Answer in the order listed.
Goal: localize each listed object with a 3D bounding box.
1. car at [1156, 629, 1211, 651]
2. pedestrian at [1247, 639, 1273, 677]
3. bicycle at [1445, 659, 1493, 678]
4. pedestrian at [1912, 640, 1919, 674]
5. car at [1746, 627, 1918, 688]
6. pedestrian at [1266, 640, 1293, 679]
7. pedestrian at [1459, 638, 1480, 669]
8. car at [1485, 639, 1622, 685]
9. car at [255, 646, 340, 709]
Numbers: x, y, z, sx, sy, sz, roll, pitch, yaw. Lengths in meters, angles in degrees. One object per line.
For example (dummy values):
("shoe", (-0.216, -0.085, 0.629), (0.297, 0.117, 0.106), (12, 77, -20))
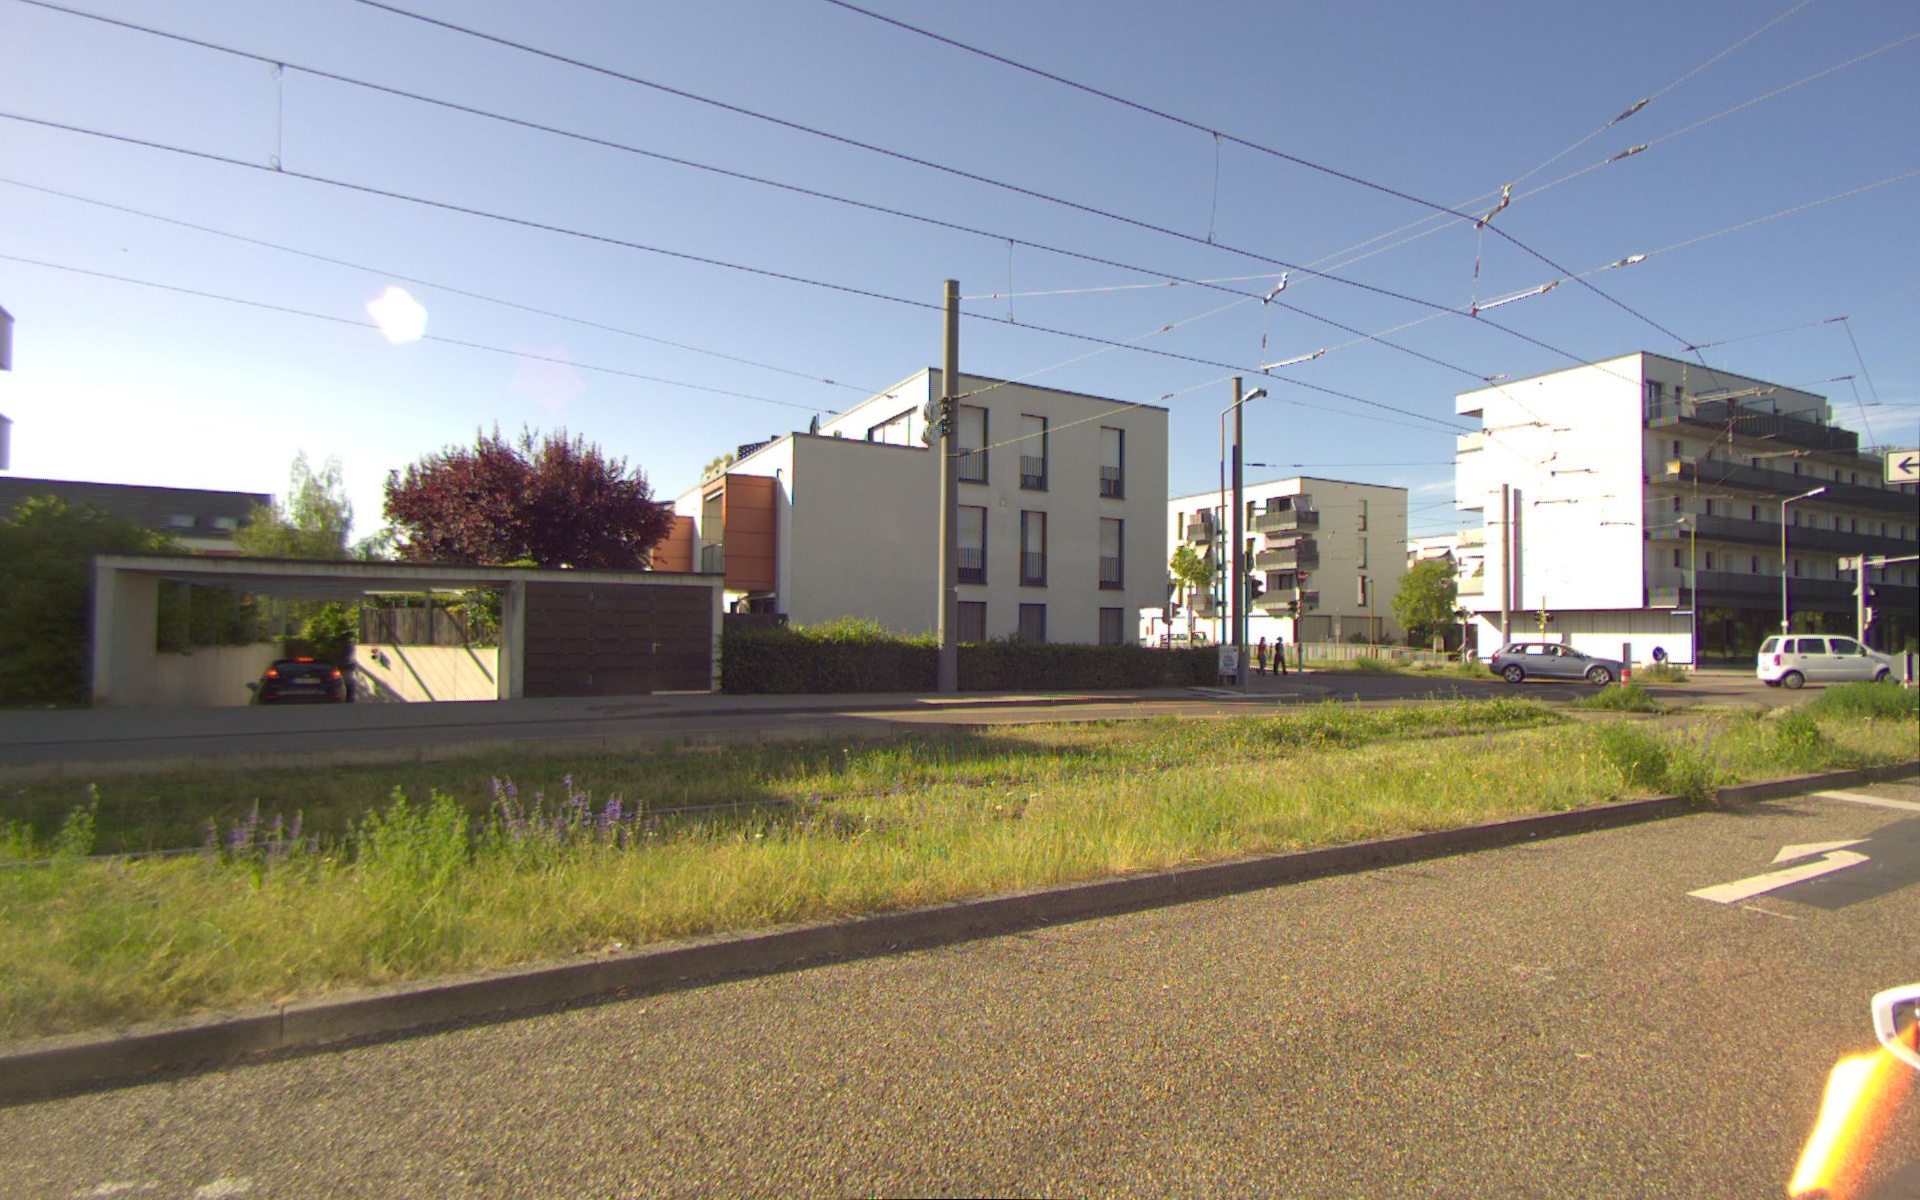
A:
("car", (17.803, 3.179, 80.287), (1.974, 1.595, 4.309), (2, 0, -27))
("pedestrian", (13.049, 2.514, 43.695), (0.735, 1.626, 0.766), (2, 0, -35))
("bicycle", (28.011, 3.765, 55.338), (0.633, 1.015, 2.399), (1, -2, -29))
("pedestrian", (42.891, 2.555, 44.836), (0.513, 1.523, 0.438), (2, 0, -35))
("car", (26.897, 1.741, 31.148), (3.616, 1.743, 1.869), (0, -1, 24))
("pedestrian", (13.585, 2.525, 42.694), (0.735, 1.626, 0.766), (2, 0, -35))
("pedestrian", (28.065, 2.931, 55.321), (0.613, 1.714, 0.809), (1, -2, -28))
("car", (20.685, 2.124, 35.071), (4.040, 1.505, 1.865), (-1, -2, 33))
("car", (-15.993, 1.915, 24.283), (1.560, 1.344, 3.966), (2, -7, -33))
